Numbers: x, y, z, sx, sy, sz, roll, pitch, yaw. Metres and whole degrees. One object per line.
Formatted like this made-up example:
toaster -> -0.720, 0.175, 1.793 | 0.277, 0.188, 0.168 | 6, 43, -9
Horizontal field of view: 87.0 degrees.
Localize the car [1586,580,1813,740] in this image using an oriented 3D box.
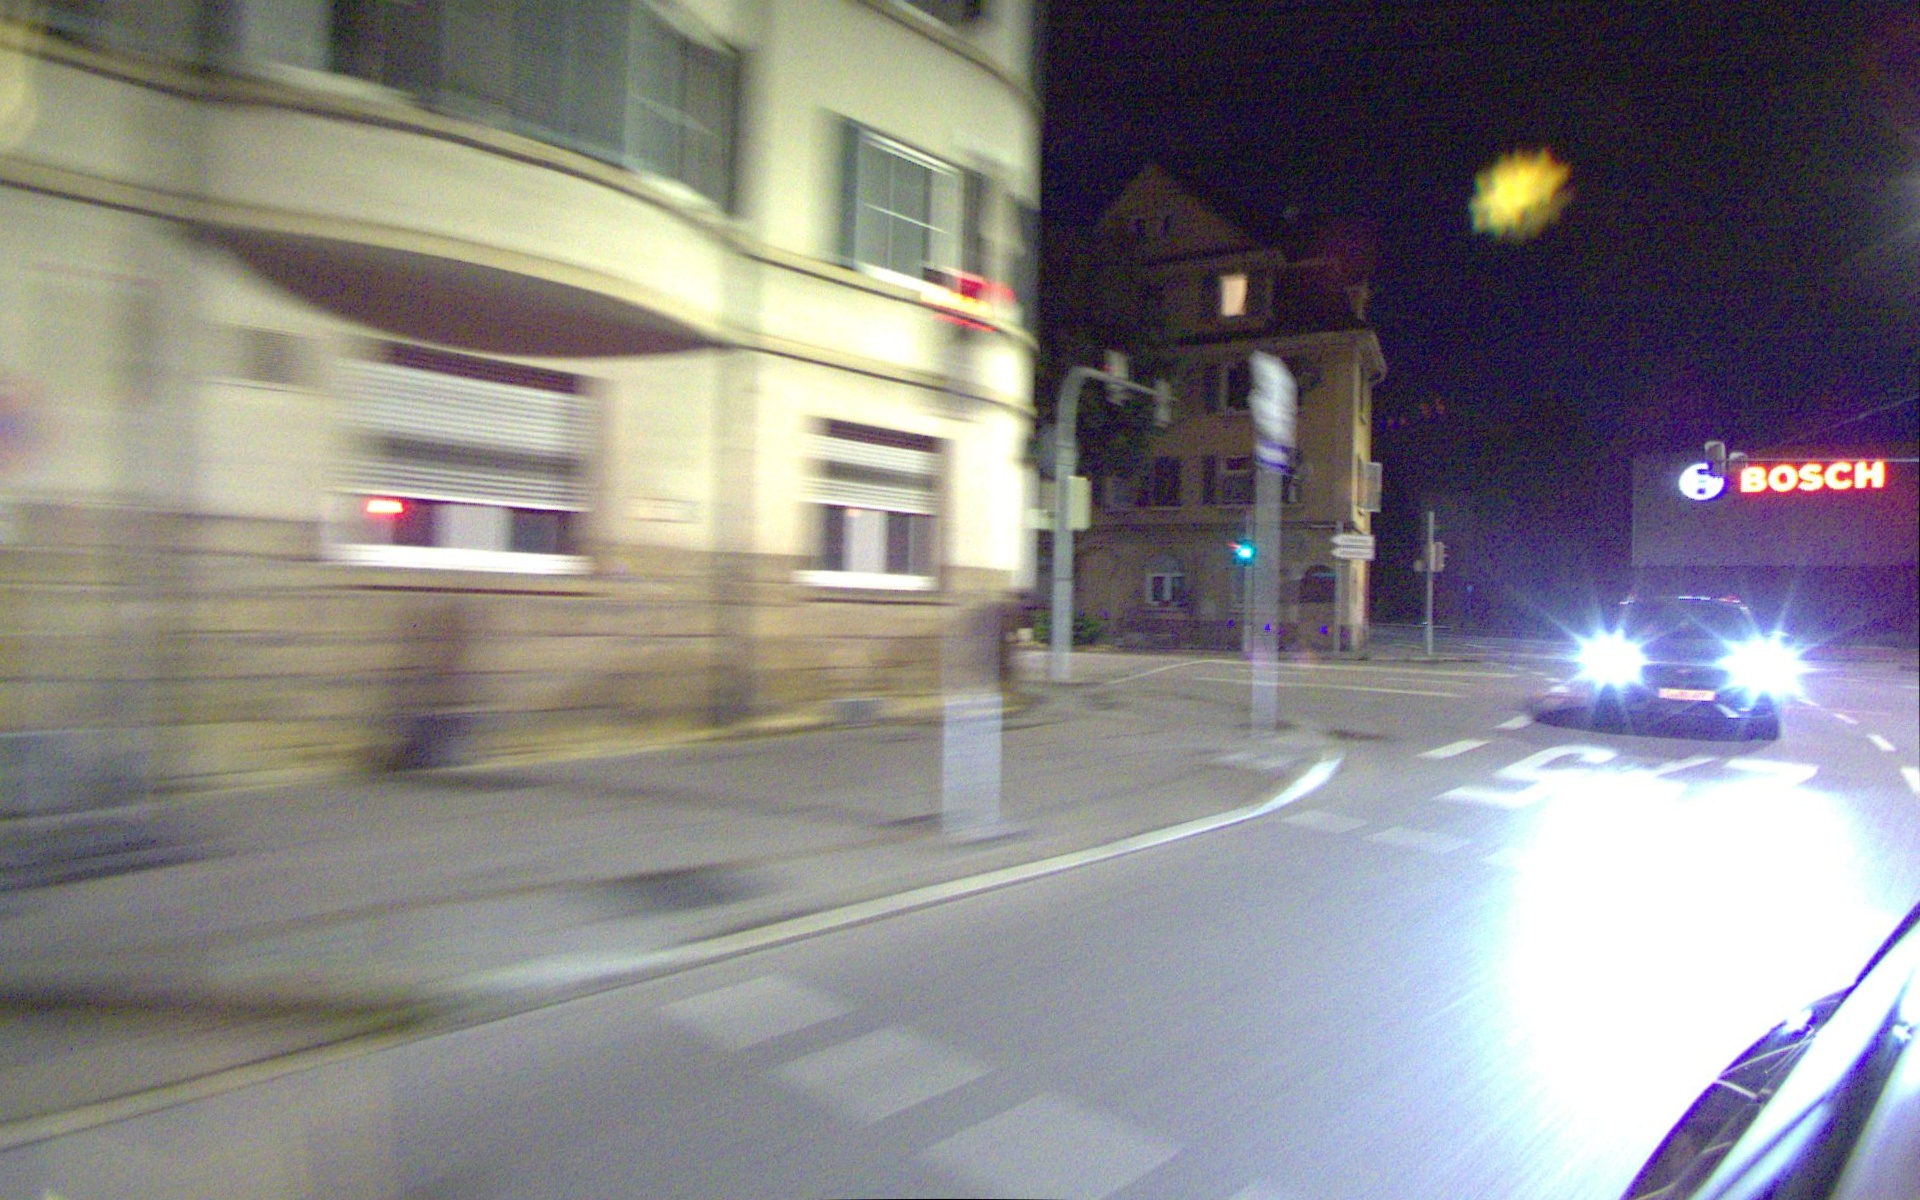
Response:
car -> 9.049, 0.624, 12.712 | 1.985, 1.636, 3.953 | 1, 0, 32
